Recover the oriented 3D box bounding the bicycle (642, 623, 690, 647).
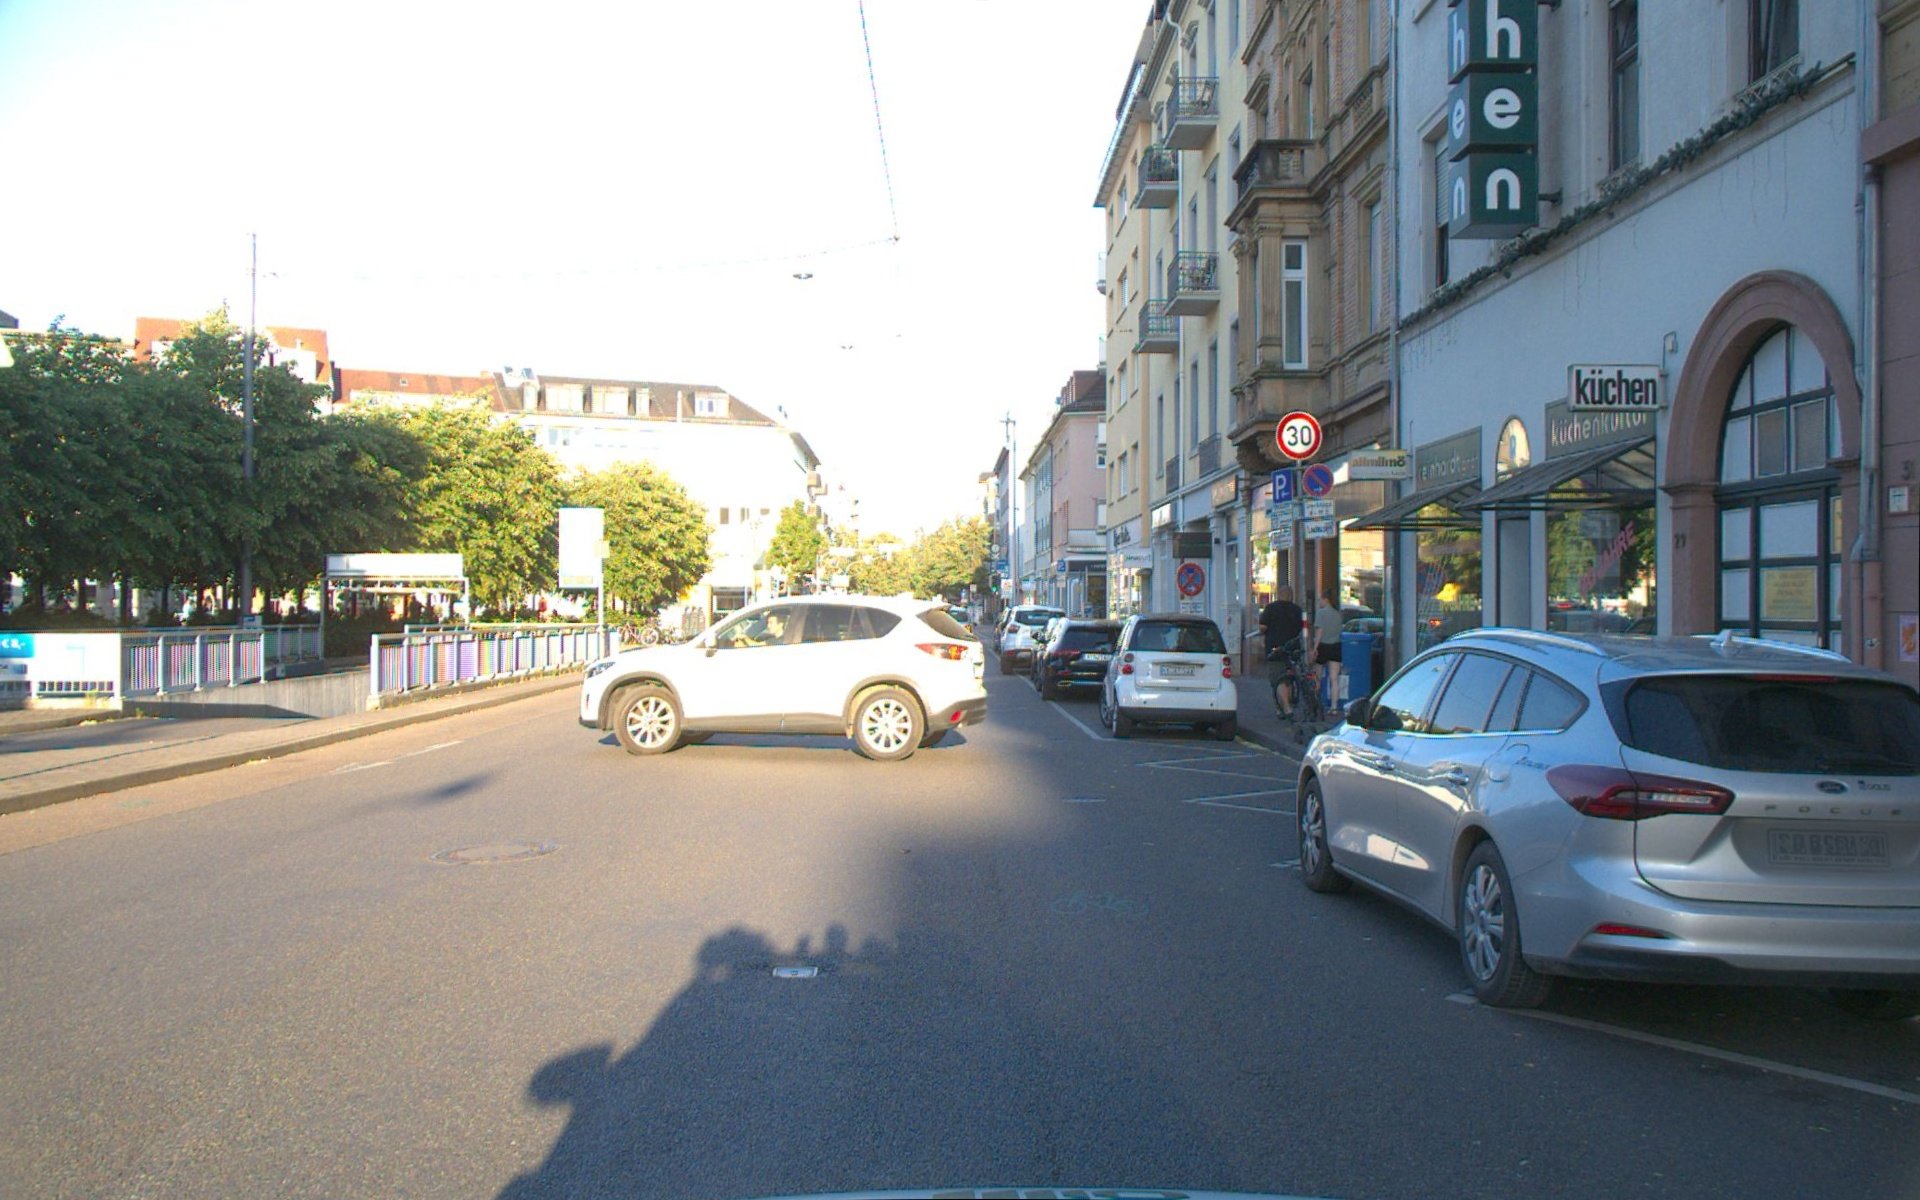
[{"bbox_3d":[-11.910,1.416,67.029,1.790,0.868,0.483,4,-1,-5],"label":"bicycle"}]

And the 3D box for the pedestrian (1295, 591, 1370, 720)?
[{"bbox_3d":[5.211,0.757,23.176,0.757,1.741,1.041,-1,0,-2],"label":"pedestrian"}]

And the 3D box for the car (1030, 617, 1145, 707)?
[{"bbox_3d":[2.296,1.096,30.793,1.694,1.473,4.523,2,-1,-1],"label":"car"}]

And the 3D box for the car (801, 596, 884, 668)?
[{"bbox_3d":[-2.886,0.762,41.377,1.858,1.678,4.103,1,0,-2],"label":"car"}]

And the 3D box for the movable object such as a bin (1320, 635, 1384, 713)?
[{"bbox_3d":[5.703,1.071,24.093,0.759,1.089,0.618,-2,0,-2],"label":"movable object such as a bin"}]

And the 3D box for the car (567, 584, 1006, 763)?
[{"bbox_3d":[-1.807,0.739,17.988,4.356,1.792,2.002,0,0,10],"label":"car"}]

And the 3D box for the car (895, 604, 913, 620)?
[{"bbox_3d":[-5.510,1.193,164.039,1.743,1.574,3.998,1,0,-2],"label":"car"}]

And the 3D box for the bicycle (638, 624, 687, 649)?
[{"bbox_3d":[-11.550,1.424,64.323,1.790,0.868,0.483,4,-1,-5],"label":"bicycle"}]

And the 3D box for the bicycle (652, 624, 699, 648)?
[{"bbox_3d":[-11.364,1.442,66.129,1.790,0.868,0.483,4,-1,-5],"label":"bicycle"}]

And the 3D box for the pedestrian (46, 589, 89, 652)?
[{"bbox_3d":[-23.360,0.543,43.300,0.774,1.623,0.568,1,0,18],"label":"pedestrian"}]

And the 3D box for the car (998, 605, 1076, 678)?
[{"bbox_3d":[1.898,1.014,41.872,1.694,1.679,4.283,2,-1,-1],"label":"car"}]

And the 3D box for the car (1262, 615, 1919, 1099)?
[{"bbox_3d":[2.880,0.895,7.898,1.724,1.563,4.818,2,-1,-3],"label":"car"}]

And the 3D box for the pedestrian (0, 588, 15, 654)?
[{"bbox_3d":[-23.774,0.509,40.616,0.774,1.623,0.568,1,0,18],"label":"pedestrian"}]

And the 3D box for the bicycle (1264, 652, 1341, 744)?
[{"bbox_3d":[4.237,1.188,20.568,0.494,1.034,1.946,0,0,-2],"label":"bicycle"}]

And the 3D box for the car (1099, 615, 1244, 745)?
[{"bbox_3d":[2.743,1.004,22.020,1.500,1.563,3.283,2,-1,0],"label":"car"}]

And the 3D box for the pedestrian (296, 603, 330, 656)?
[{"bbox_3d":[-19.982,0.902,51.090,0.663,1.623,0.677,1,0,18],"label":"pedestrian"}]

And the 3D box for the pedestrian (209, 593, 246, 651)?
[{"bbox_3d":[-20.880,0.622,47.137,0.663,1.623,0.677,1,0,18],"label":"pedestrian"}]

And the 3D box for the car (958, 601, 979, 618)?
[{"bbox_3d":[0.814,0.952,160.901,1.858,1.609,3.850,0,0,-2],"label":"car"}]

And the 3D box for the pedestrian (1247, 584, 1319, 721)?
[{"bbox_3d":[4.506,0.722,23.146,0.757,1.859,1.010,-1,0,-2],"label":"pedestrian"}]

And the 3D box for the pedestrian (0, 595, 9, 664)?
[{"bbox_3d":[-22.960,0.693,39.024,0.663,1.623,0.568,1,0,18],"label":"pedestrian"}]

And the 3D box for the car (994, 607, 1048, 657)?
[{"bbox_3d":[2.167,1.140,59.365,1.694,1.681,3.969,2,-1,0],"label":"car"}]

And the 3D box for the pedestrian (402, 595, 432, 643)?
[{"bbox_3d":[-18.767,0.650,57.186,0.774,1.623,0.568,1,0,18],"label":"pedestrian"}]

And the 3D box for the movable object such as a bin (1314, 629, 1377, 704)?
[{"bbox_3d":[5.771,0.990,24.798,0.759,1.089,0.618,-2,0,-2],"label":"movable object such as a bin"}]

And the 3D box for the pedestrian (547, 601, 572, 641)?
[{"bbox_3d":[-16.334,0.848,67.526,0.774,1.623,0.568,1,0,18],"label":"pedestrian"}]

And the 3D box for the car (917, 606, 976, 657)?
[{"bbox_3d":[-0.489,1.032,56.204,1.858,1.609,3.999,2,0,-2],"label":"car"}]

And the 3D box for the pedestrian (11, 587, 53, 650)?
[{"bbox_3d":[-24.400,0.488,43.478,0.774,1.623,0.568,1,0,18],"label":"pedestrian"}]
